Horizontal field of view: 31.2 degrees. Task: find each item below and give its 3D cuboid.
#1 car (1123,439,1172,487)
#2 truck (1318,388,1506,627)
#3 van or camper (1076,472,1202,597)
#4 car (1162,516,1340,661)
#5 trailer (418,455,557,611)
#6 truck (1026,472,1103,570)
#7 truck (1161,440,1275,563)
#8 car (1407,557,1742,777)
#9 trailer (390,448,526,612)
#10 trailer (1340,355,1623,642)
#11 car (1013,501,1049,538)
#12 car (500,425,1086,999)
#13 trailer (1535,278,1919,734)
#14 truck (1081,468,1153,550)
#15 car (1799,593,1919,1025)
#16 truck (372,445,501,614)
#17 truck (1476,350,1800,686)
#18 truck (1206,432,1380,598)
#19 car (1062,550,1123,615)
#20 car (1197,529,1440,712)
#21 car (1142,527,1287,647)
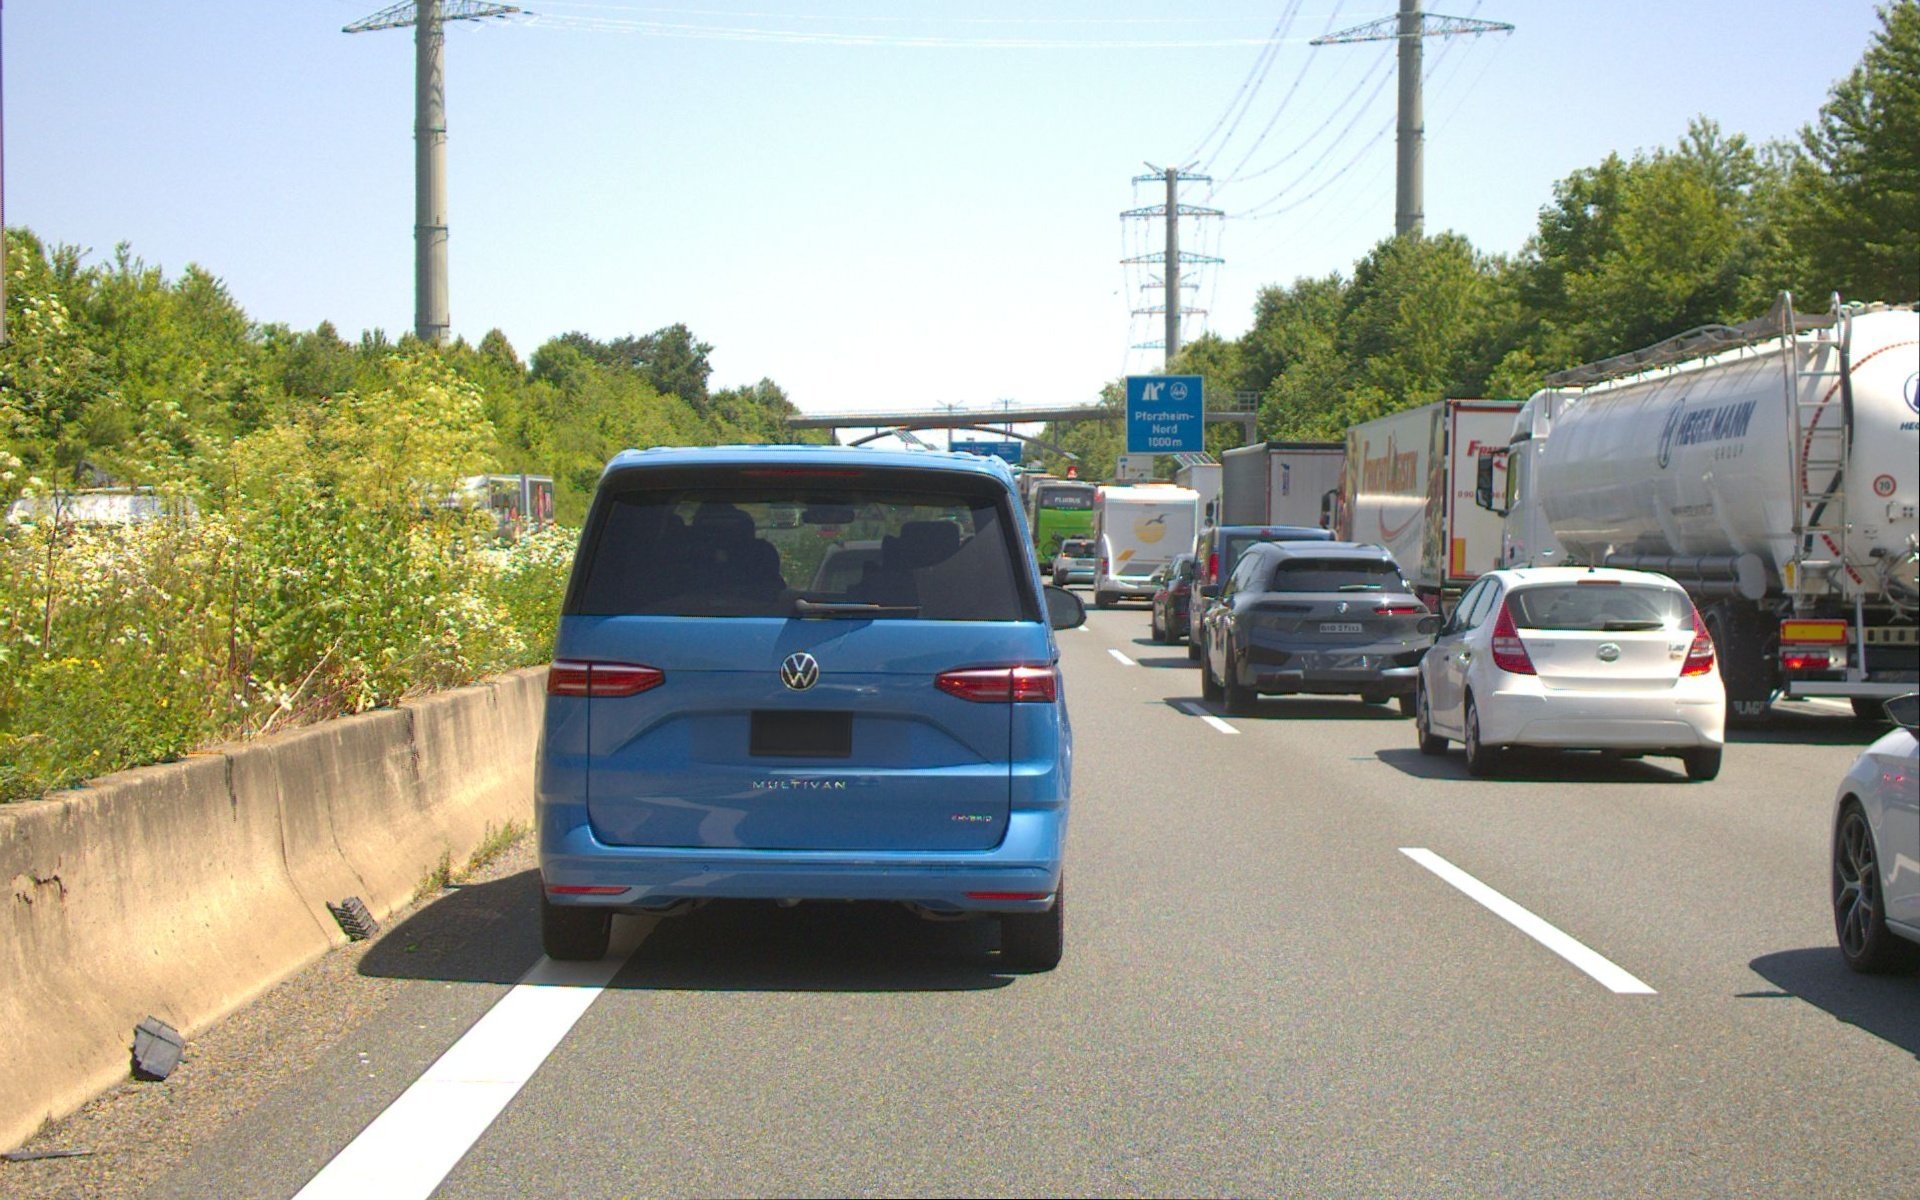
[{"bbox_3d":[8.424,-6.126,154.367,1.993,2.007,4.000,0,0,0],"label":"car"},{"bbox_3d":[8.718,-1.753,66.828,2.912,4.453,5.143,0,1,-1],"label":"truck"},{"bbox_3d":[4.458,-1.608,86.845,2.957,3.012,7.102,0,0,1],"label":"van or camper"},{"bbox_3d":[4.053,-0.150,48.444,1.923,1.919,4.236,-1,0,-3],"label":"car"},{"bbox_3d":[-15.806,-2.204,115.768,3.322,5.030,9.591,0,0,0],"label":"trailer"},{"bbox_3d":[4.157,-3.109,138.152,2.895,3.754,10.140,0,0,1],"label":"truck"},{"bbox_3d":[8.351,-3.111,112.702,2.895,3.754,13.344,0,0,1],"label":"truck"},{"bbox_3d":[4.424,0.455,25.315,1.817,1.480,4.000,0,0,1],"label":"car"},{"bbox_3d":[-15.800,-2.174,108.733,3.322,5.030,6.704,0,0,0],"label":"trailer"},{"bbox_3d":[8.788,-1.649,59.544,2.912,4.453,12.155,0,1,-1],"label":"trailer"},{"bbox_3d":[4.184,-4.752,202.596,1.993,2.118,4.000,0,0,-1],"label":"car"},{"bbox_3d":[-0.561,0.342,13.487,1.920,1.880,4.000,1,1,0],"label":"car"},{"bbox_3d":[8.206,-0.859,34.701,2.761,3.832,11.487,0,1,-1],"label":"trailer"},{"bbox_3d":[8.982,-5.181,197.482,3.566,4.502,10.294,0,0,-1],"label":"truck"},{"bbox_3d":[4.054,0.689,10.931,1.747,1.438,4.313,0,0,1],"label":"car"},{"bbox_3d":[-15.800,-2.117,104.030,3.302,5.033,4.033,0,1,0],"label":"truck"},{"bbox_3d":[8.165,-0.965,42.066,2.793,3.823,5.572,0,1,-1],"label":"truck"},{"bbox_3d":[8.099,-1.984,85.753,3.006,3.754,15.713,0,0,1],"label":"truck"},{"bbox_3d":[4.183,-0.553,109.244,1.836,1.992,4.000,-1,0,1],"label":"car"},{"bbox_3d":[3.531,0.197,34.641,1.999,1.709,4.625,0,0,1],"label":"car"},{"bbox_3d":[4.258,-0.213,58.108,1.923,1.919,4.236,-1,0,-3],"label":"car"}]
